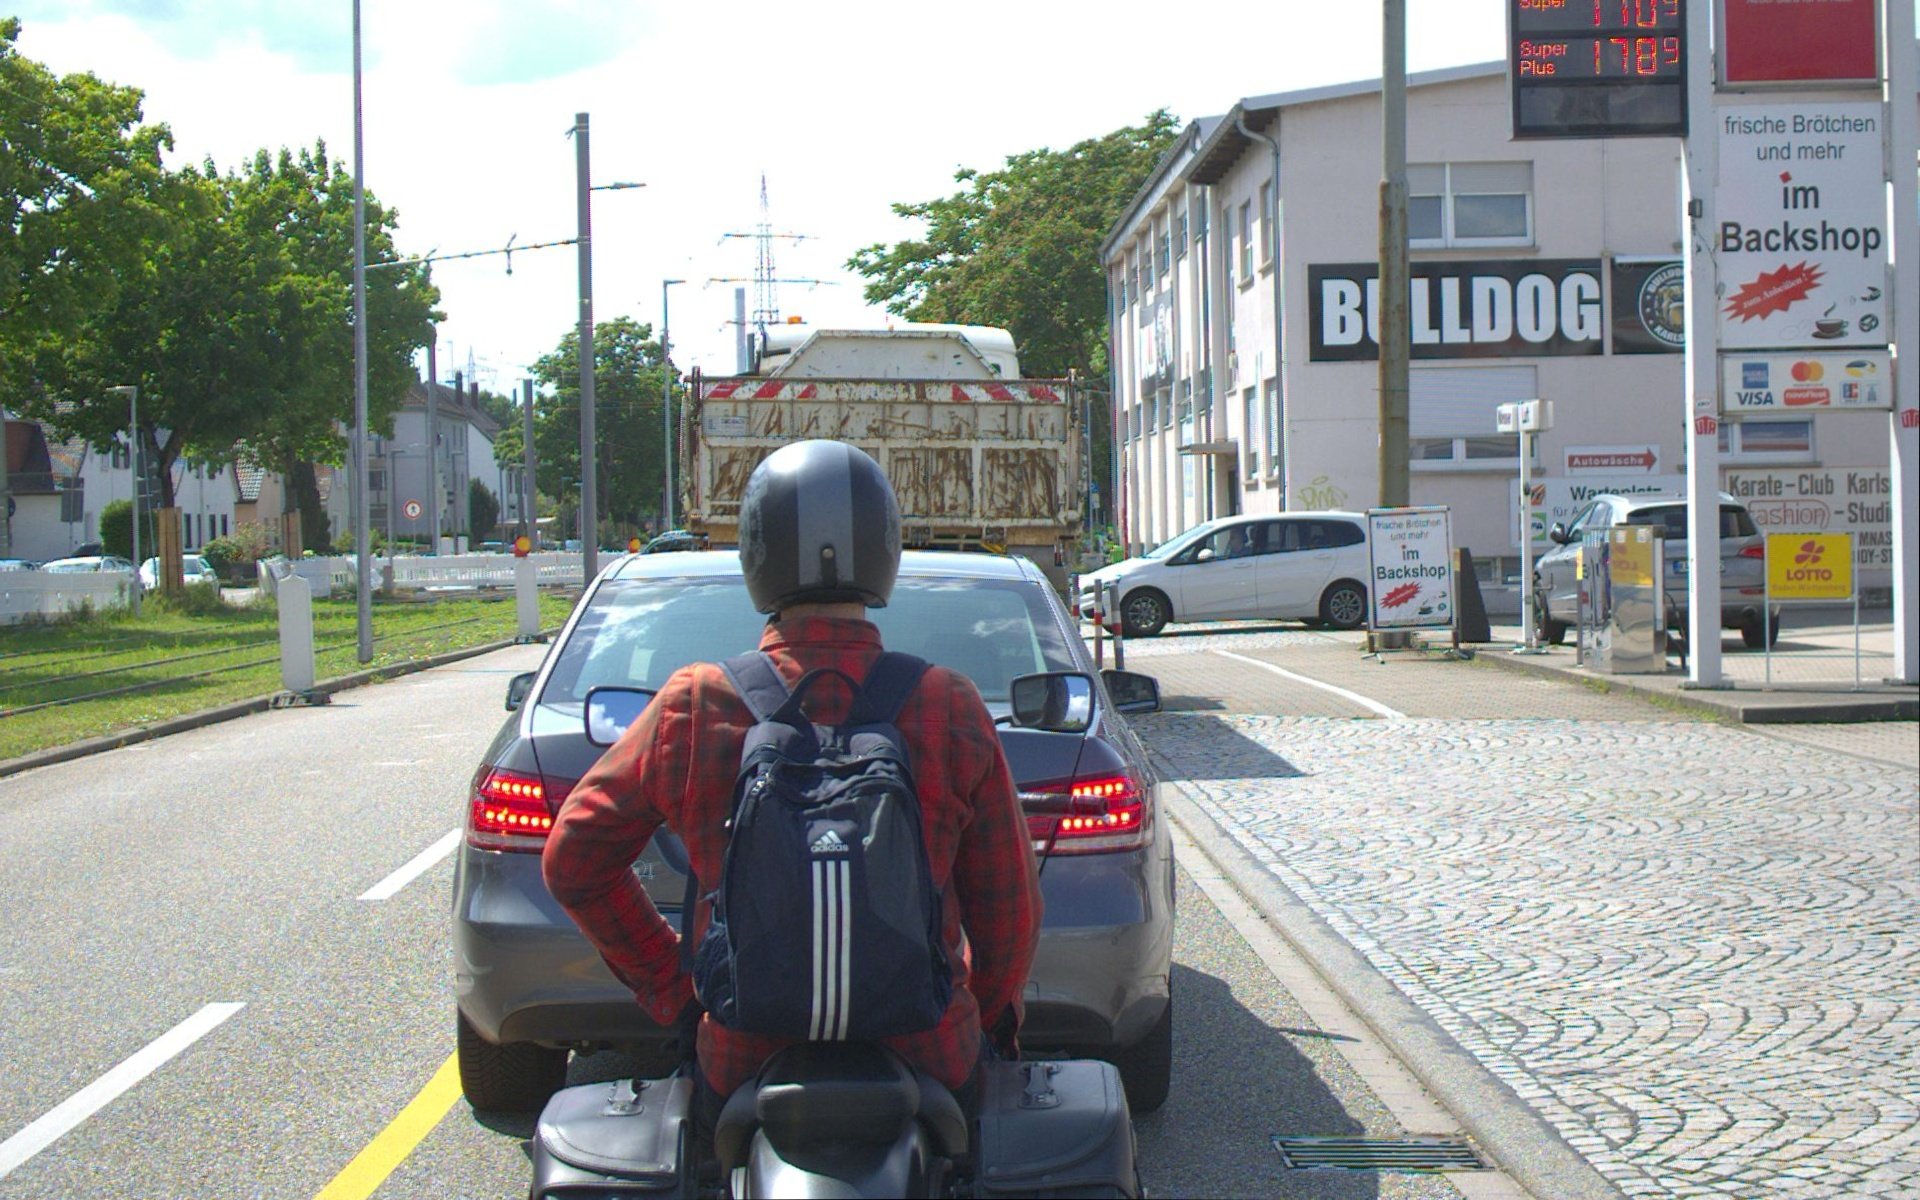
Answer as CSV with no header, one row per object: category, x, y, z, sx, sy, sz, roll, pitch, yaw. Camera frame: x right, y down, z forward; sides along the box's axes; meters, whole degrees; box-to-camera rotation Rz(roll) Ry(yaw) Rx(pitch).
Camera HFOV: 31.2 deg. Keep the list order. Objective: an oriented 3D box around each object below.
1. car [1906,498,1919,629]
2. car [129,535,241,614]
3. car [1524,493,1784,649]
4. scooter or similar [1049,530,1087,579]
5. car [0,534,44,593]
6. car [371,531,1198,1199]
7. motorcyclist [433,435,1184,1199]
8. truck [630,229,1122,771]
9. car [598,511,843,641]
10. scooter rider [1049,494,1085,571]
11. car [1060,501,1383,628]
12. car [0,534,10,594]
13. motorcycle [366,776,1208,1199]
car,11.788,-0.400,37.251,1.832,1.474,4.010,-1,1,-2
car,-17.865,-0.612,79.410,1.698,1.733,3.860,-1,1,0
car,7.324,-0.340,36.654,1.832,1.530,4.010,-1,1,-2
scooter or similar,2.557,-1.080,81.584,0.795,1.141,1.519,-1,1,-1
car,-29.262,-1.110,104.599,1.698,1.733,4.062,-1,1,0
car,-0.450,0.569,9.783,1.832,1.474,4.010,-1,1,-2
motorcyclist,-0.208,0.590,5.094,0.969,1.627,1.215,1,1,-1
truck,-0.636,-0.713,25.477,2.970,3.293,8.408,-1,1,-2
car,-3.245,-0.334,45.909,1.680,1.619,4.119,-2,1,-28
scooter rider,2.543,-1.611,81.615,0.795,1.812,0.508,-1,1,-1
car,3.550,-0.500,47.040,4.104,1.619,1.686,-1,1,-8
car,-28.667,-0.998,98.588,1.698,1.733,4.062,-1,1,0
motorcycle,-0.218,0.866,5.217,0.976,1.010,2.432,1,1,-1
